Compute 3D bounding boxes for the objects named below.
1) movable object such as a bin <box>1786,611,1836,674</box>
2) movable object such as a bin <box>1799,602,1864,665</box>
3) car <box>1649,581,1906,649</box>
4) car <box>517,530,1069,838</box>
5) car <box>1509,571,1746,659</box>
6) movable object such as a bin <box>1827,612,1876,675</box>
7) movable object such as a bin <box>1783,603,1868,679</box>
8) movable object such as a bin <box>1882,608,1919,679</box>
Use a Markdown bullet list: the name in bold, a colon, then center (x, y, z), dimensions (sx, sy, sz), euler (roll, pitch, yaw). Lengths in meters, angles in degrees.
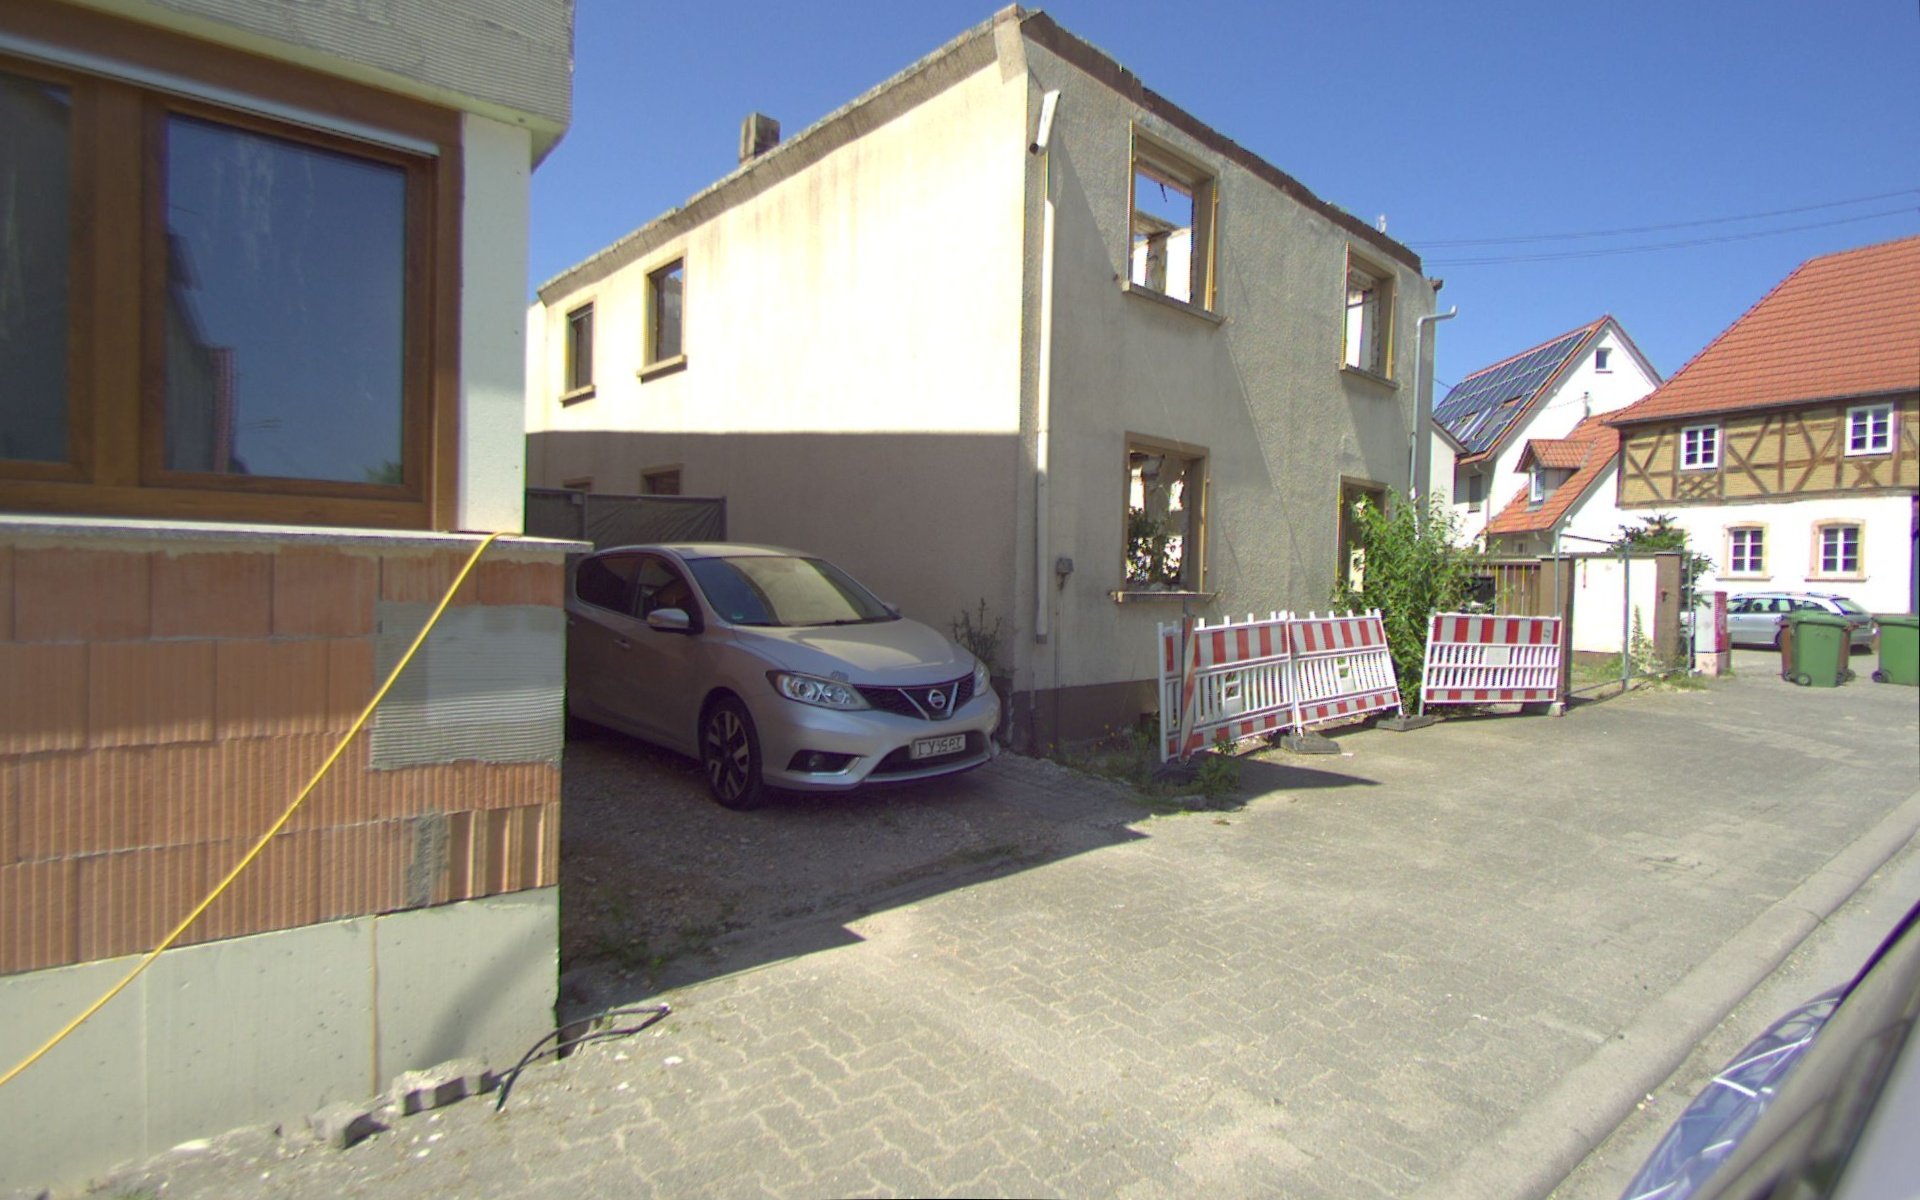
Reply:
- **movable object such as a bin**: center (13.818, 0.678, 16.433), dimensions (0.486, 0.982, 0.467), euler (0, 1, -32)
- **movable object such as a bin**: center (16.013, 0.604, 18.600), dimensions (0.741, 1.094, 0.722), euler (0, 1, -34)
- **car**: center (20.932, 0.323, 26.172), dimensions (1.959, 1.470, 4.776), euler (0, 2, -28)
- **car**: center (-1.409, 0.312, 7.119), dimensions (1.839, 1.526, 4.093), euler (-1, 3, -44)
- **car**: center (12.985, 0.265, 19.679), dimensions (4.207, 1.547, 1.820), euler (1, 2, -24)
- **movable object such as a bin**: center (14.159, 0.675, 16.072), dimensions (0.453, 0.961, 0.446), euler (0, 1, -31)
- **movable object such as a bin**: center (13.097, 0.600, 15.342), dimensions (0.752, 1.085, 0.668), euler (1, 1, 19)
- **movable object such as a bin**: center (15.250, 0.687, 16.100), dimensions (0.625, 1.105, 0.689), euler (0, 1, -31)
